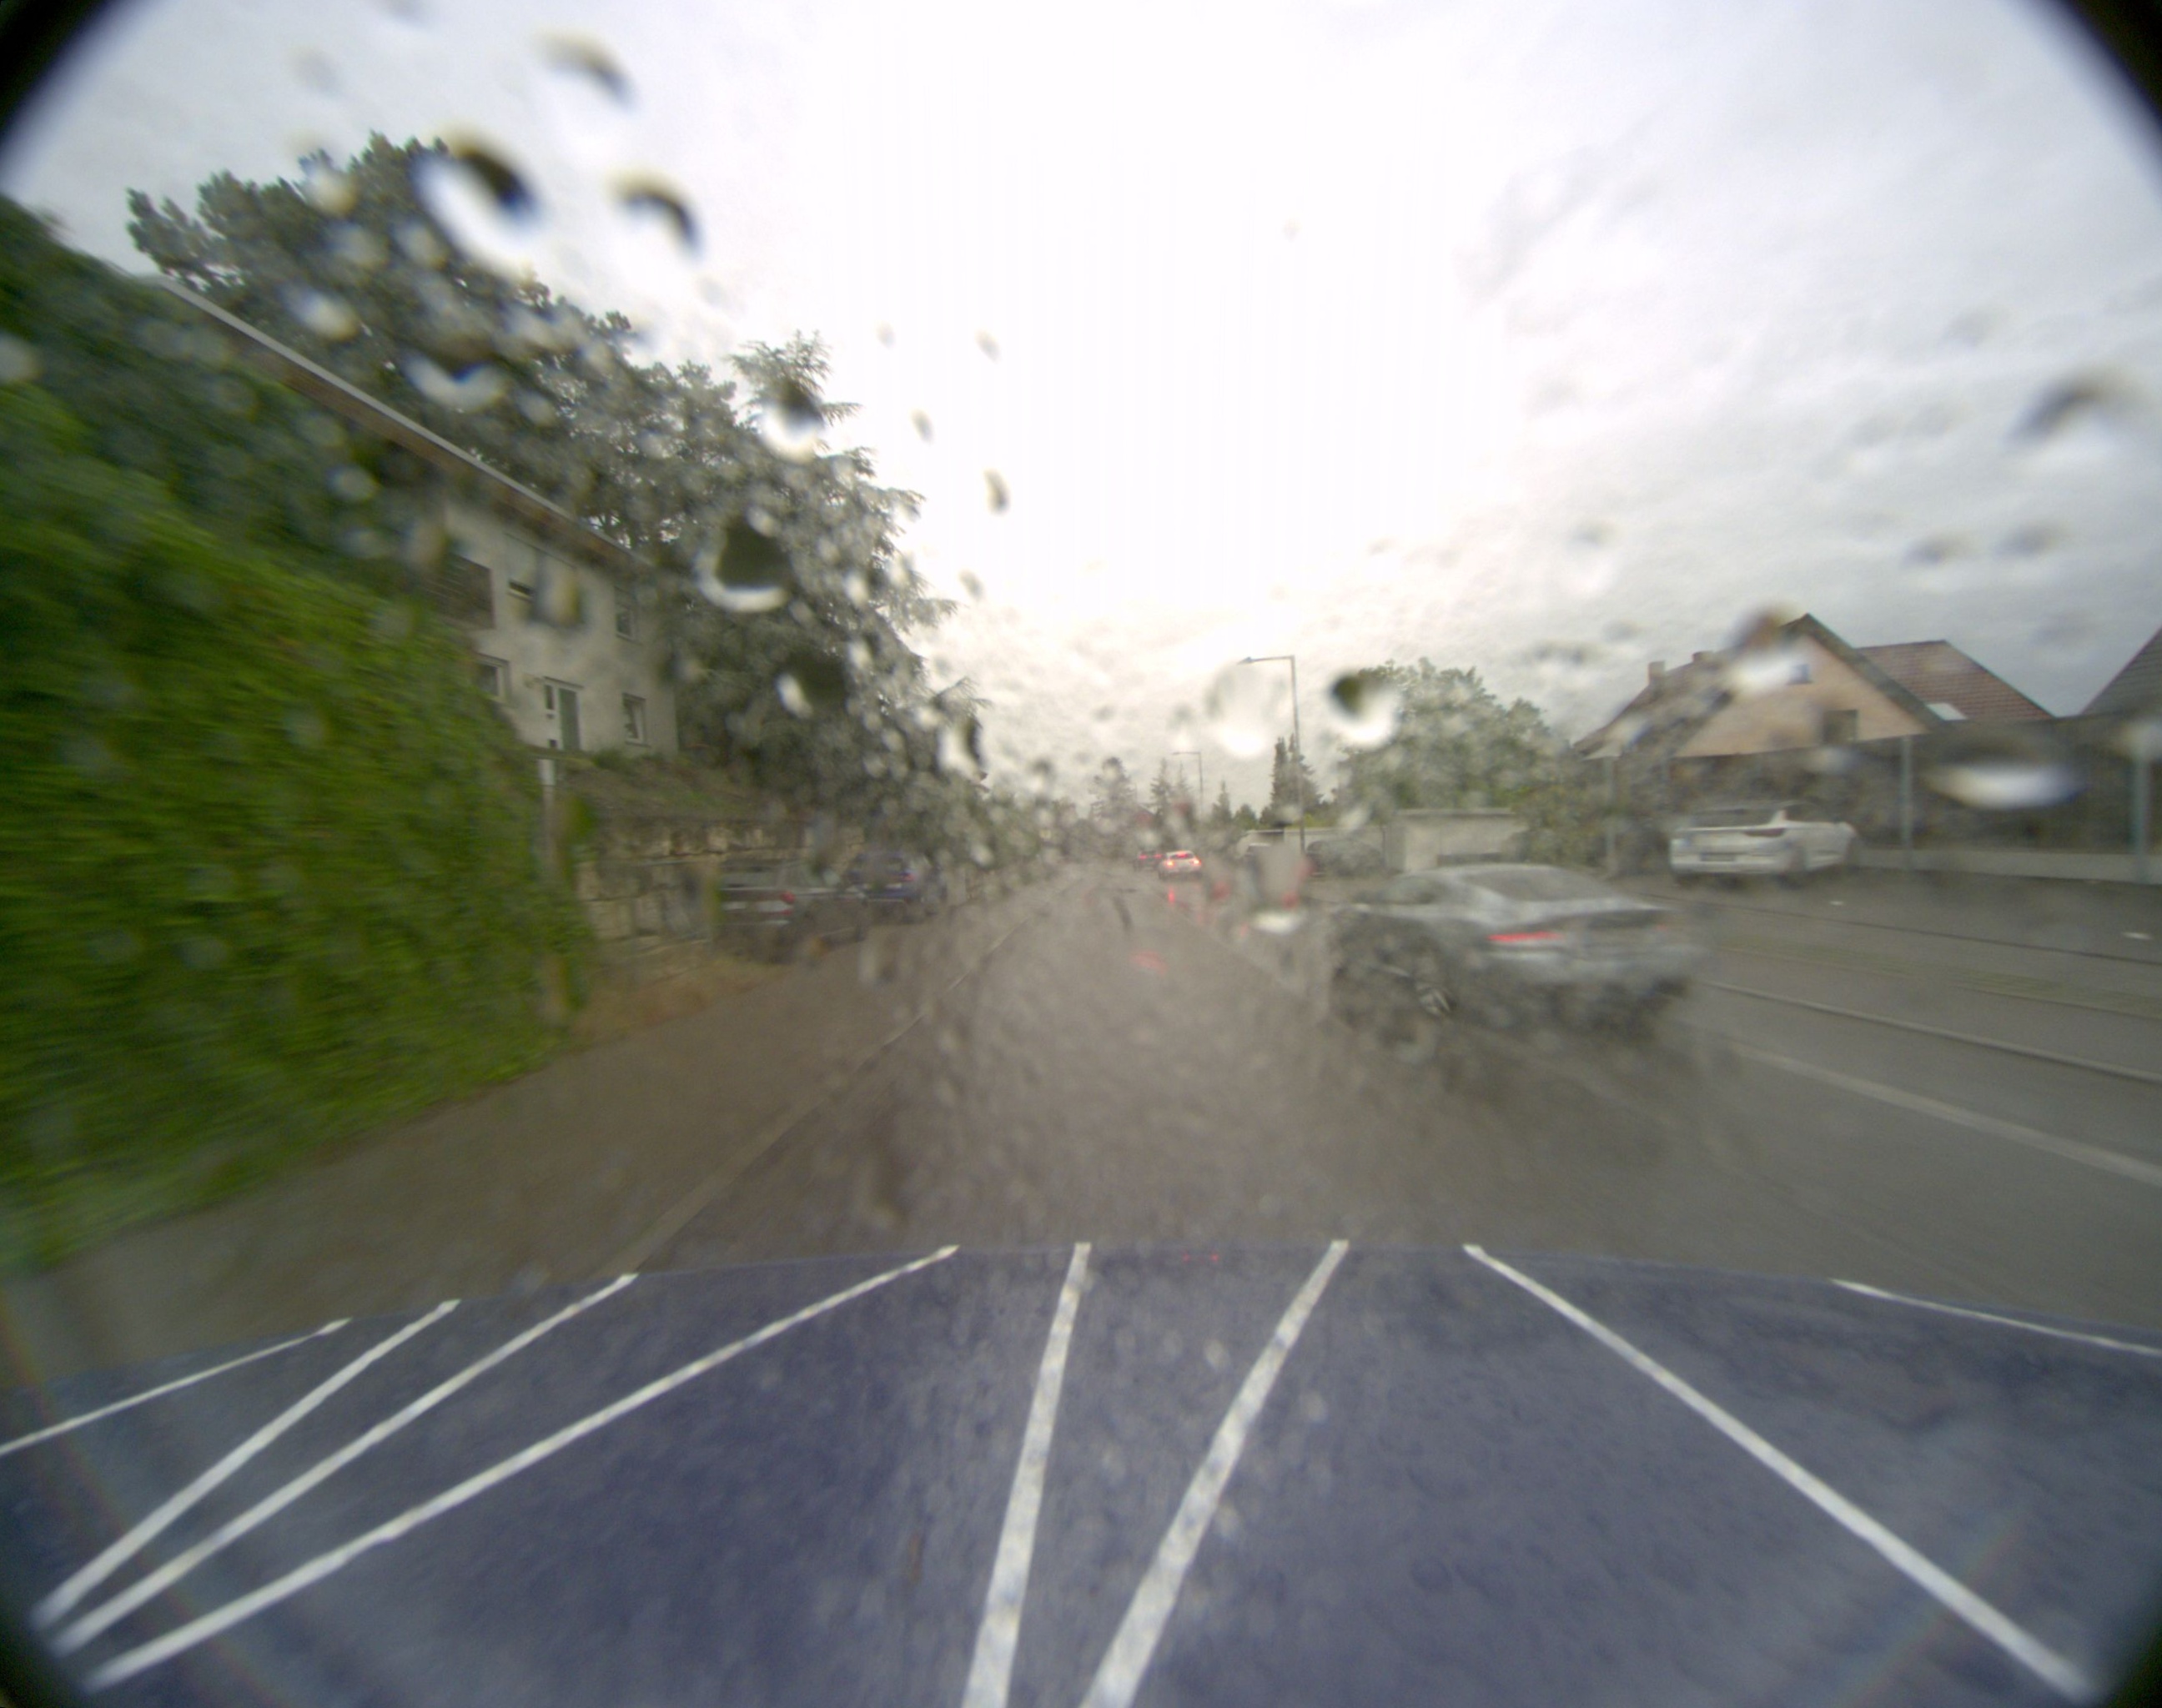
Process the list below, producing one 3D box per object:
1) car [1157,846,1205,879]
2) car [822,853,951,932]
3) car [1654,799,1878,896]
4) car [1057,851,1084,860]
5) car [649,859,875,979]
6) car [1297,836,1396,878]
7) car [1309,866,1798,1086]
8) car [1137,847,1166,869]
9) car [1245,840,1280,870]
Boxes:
[{"bbox_3d":[4.923,0.402,38.025,1.851,1.452,4.268,-4,1,1],"label":"car"},{"bbox_3d":[-4.566,0.820,18.598,1.999,1.660,4.543,0,1,0],"label":"car"},{"bbox_3d":[13.375,-0.158,14.808,4.063,1.565,1.938,-4,1,-28],"label":"car"},{"bbox_3d":[-1.689,0.211,120.220,4.001,1.264,1.871,-4,1,-14],"label":"car"},{"bbox_3d":[-4.857,0.895,12.277,1.814,1.554,4.010,0,1,2],"label":"car"},{"bbox_3d":[10.110,0.113,29.322,1.839,1.397,4.257,-4,0,-7],"label":"car"},{"bbox_3d":[3.753,0.832,7.109,1.886,1.276,4.208,-3,0,-1],"label":"car"},{"bbox_3d":[5.261,0.269,57.005,1.855,1.461,3.699,-4,0,2],"label":"car"},{"bbox_3d":[10.594,0.008,44.111,1.707,1.544,4.393,-3,1,16],"label":"car"}]
